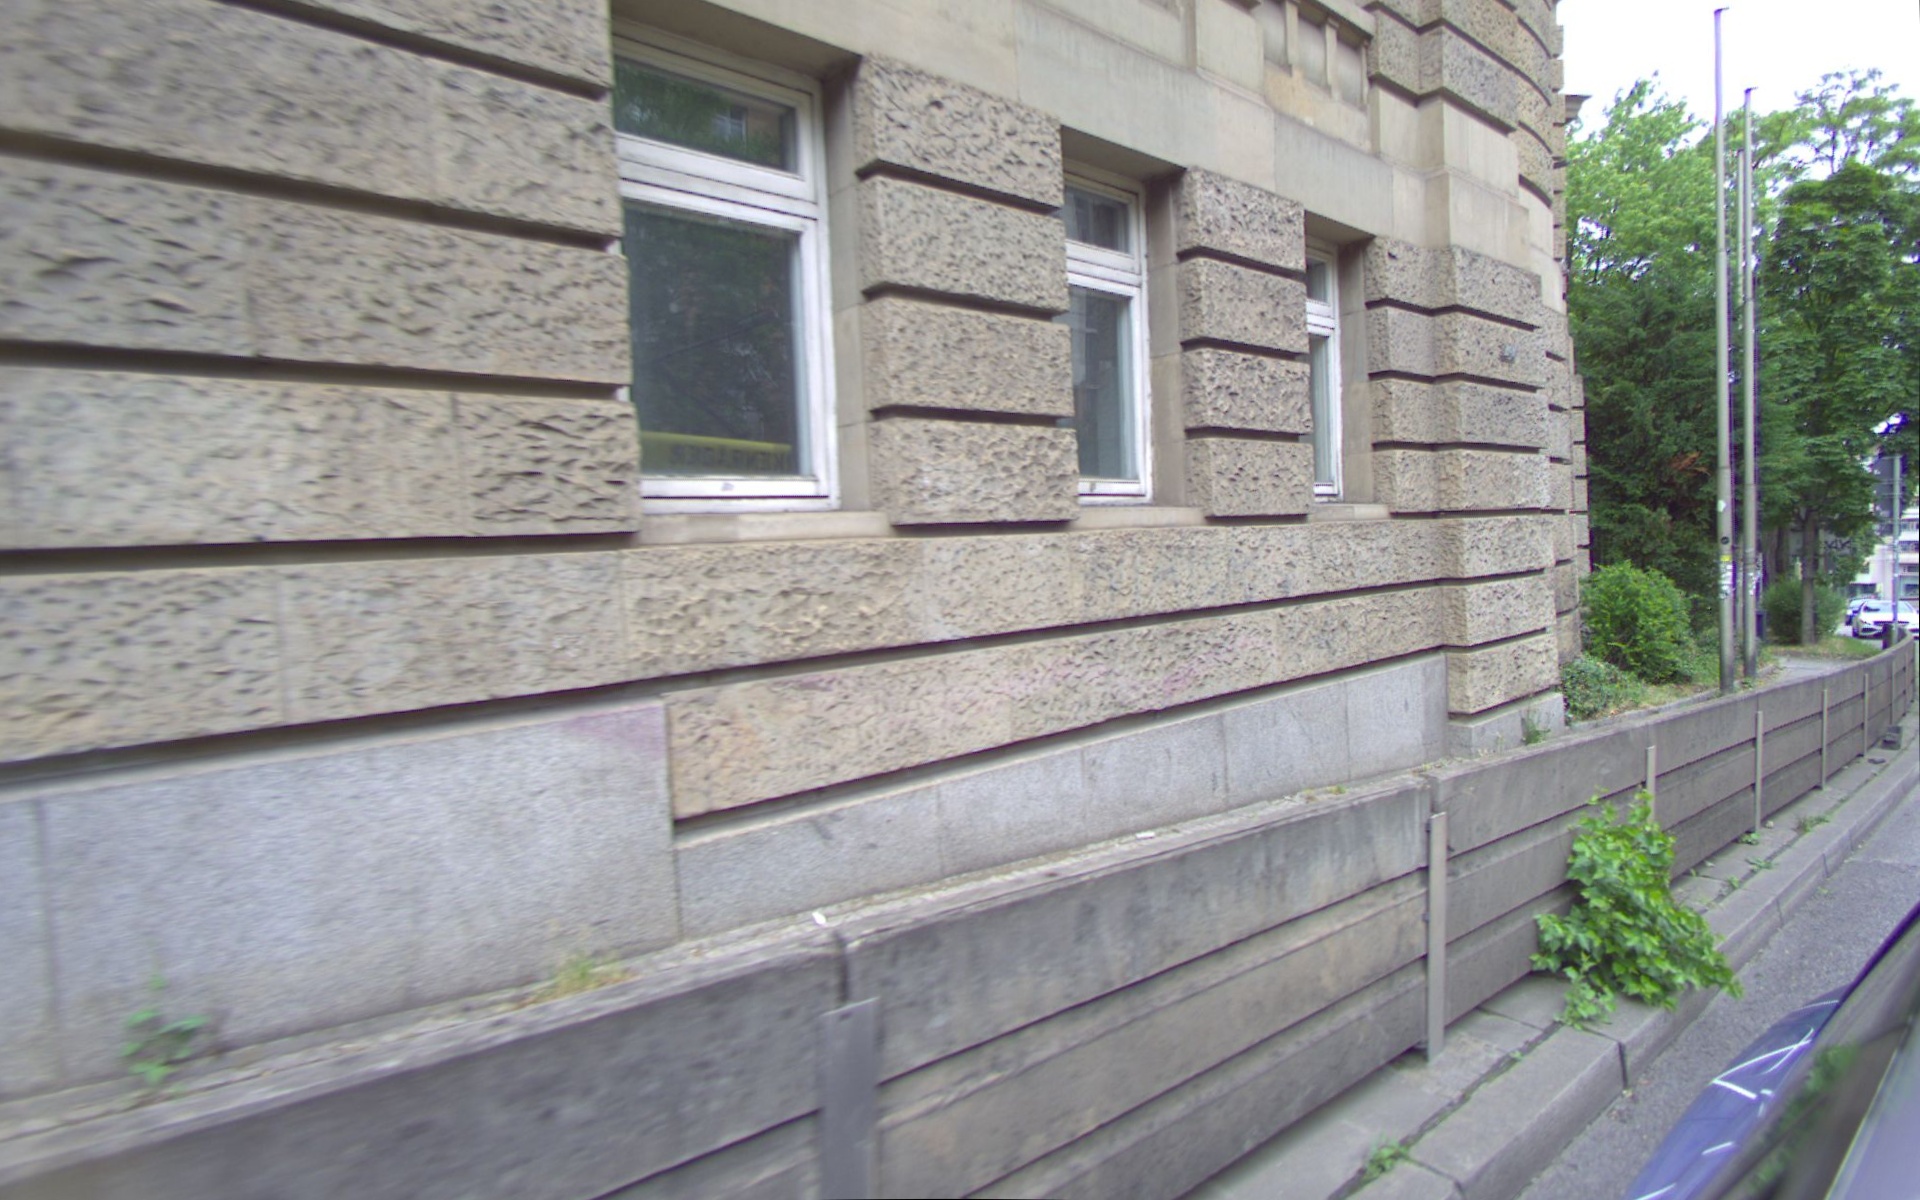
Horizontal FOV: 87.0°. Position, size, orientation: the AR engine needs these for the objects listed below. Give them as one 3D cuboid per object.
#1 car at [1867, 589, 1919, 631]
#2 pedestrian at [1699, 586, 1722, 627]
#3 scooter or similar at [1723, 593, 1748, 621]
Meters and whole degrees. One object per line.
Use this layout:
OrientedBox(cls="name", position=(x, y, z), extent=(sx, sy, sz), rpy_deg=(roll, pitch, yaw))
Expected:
OrientedBox(cls="car", position=(34.812, 0.369, 37.296), extent=(3.789, 1.467, 1.819), rpy_deg=(0, 0, -44))
OrientedBox(cls="pedestrian", position=(32.390, 0.284, 43.685), extent=(0.770, 1.724, 0.774), rpy_deg=(1, 0, 39))
OrientedBox(cls="scooter or similar", position=(35.089, 0.323, 45.795), extent=(0.626, 1.225, 1.542), rpy_deg=(1, 1, 28))
